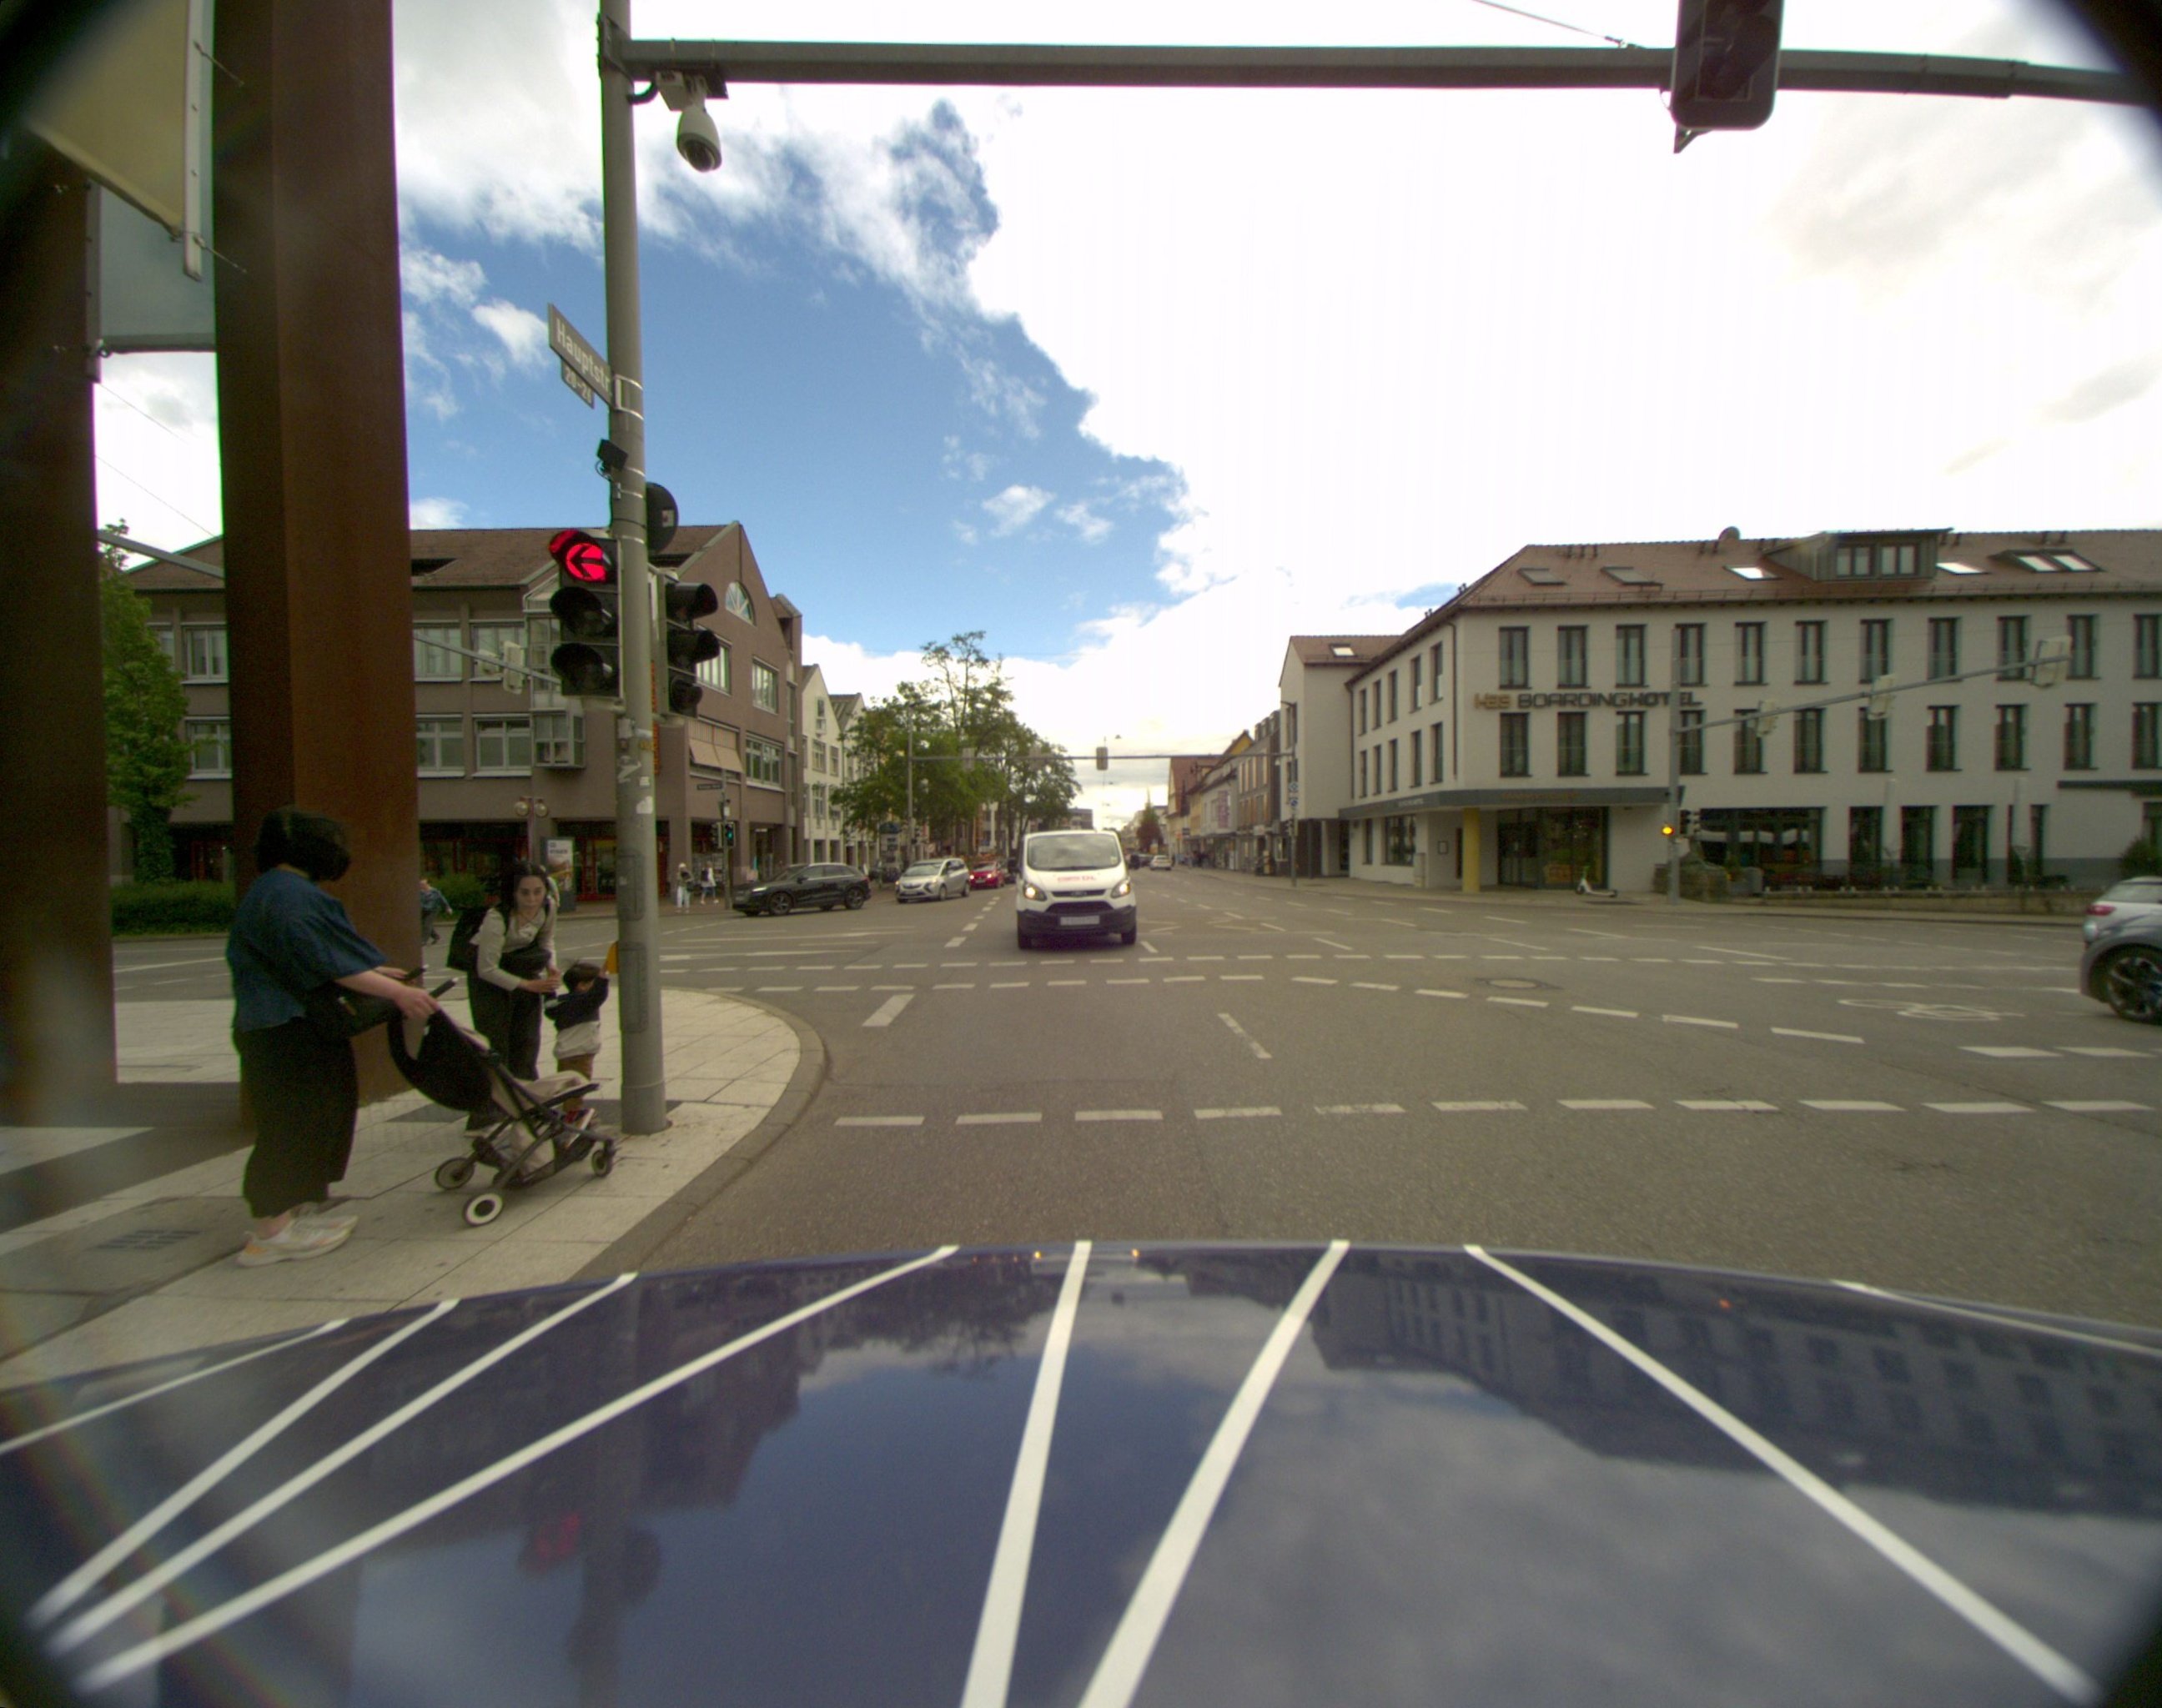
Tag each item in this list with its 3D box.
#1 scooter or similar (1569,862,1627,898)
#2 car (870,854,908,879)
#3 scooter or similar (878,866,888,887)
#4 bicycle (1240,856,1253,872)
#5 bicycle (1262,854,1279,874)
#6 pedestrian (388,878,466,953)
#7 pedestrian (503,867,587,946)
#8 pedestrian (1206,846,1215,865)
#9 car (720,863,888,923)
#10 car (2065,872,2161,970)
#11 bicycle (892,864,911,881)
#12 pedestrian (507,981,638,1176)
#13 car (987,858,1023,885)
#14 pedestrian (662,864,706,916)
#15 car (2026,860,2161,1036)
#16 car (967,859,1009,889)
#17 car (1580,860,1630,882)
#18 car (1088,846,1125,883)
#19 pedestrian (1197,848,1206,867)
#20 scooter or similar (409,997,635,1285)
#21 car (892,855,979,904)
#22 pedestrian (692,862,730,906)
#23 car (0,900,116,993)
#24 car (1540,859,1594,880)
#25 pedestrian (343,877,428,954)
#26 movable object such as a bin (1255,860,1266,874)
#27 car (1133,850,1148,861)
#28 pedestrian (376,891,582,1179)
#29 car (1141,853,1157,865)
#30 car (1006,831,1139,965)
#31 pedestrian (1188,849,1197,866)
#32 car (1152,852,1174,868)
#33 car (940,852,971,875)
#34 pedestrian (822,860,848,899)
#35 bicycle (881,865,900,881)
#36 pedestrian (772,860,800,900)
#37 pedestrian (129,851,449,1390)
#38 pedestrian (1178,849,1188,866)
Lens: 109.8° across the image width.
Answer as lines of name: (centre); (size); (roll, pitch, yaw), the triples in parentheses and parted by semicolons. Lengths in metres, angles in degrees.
scooter or similar: (18.063, 0.901, 26.586); (0.427, 1.152, 1.569); (-2, 3, -40)
car: (-14.153, 0.887, 56.245); (1.738, 1.793, 4.260); (0, 0, 0)
scooter or similar: (-10.960, 1.247, 42.003); (0.471, 1.081, 1.885); (-1, 1, -15)
bicycle: (11.783, 0.695, 54.065); (0.573, 1.094, 1.902); (-1, 0, 2)
bicycle: (11.803, 0.599, 47.362); (0.583, 1.225, 2.119); (-1, 0, 1)
pedestrian: (-14.374, 1.331, 16.730); (0.832, 1.549, 0.969); (-1, 1, 1)
pedestrian: (-12.281, 1.186, 17.451); (1.058, 1.705, 1.110); (-1, 1, 1)
pedestrian: (12.326, 0.170, 72.232); (0.708, 1.771, 0.870); (-1, 1, 3)
car: (-8.968, 1.209, 25.020); (1.852, 1.600, 4.870); (-2, 0, 38)
car: (17.473, 1.023, 11.896); (4.205, 1.409, 1.637); (1, -1, -25)
bicycle: (-11.748, 1.196, 49.777); (1.565, 1.042, 0.407); (0, 1, 44)
pedestrian: (-2.723, 1.180, 4.095); (0.362, 0.918, 0.454); (-1, 0, 4)
car: (-4.728, 1.042, 47.963); (1.801, 1.521, 4.000); (-3, 0, 0)
pedestrian: (-13.353, 1.195, 25.586); (0.810, 1.618, 1.092); (-1, 4, -1)
car: (10.012, 0.811, 5.295); (1.762, 1.508, 4.390); (0, 0, 8)
car: (-4.991, 1.057, 41.065); (1.630, 1.440, 3.642); (-3, 0, 2)
car: (31.009, 0.977, 45.074); (1.396, 1.173, 3.174); (1, 0, 14)
car: (1.333, 0.534, 41.041); (1.712, 1.810, 4.571); (-3, 0, -1)
pedestrian: (11.478, 0.335, 72.318); (0.708, 1.828, 1.028); (-1, 1, 3)
scooter or similar: (-2.476, 1.198, 3.381); (0.633, 0.956, 0.622); (-1, 1, 36)
car: (-5.716, 0.948, 30.472); (1.742, 1.691, 4.384); (-3, 0, 12)
pedestrian: (-13.833, 1.103, 28.438); (0.823, 1.586, 1.039); (-1, 1, 4)
car: (-19.269, 1.578, 12.582); (4.183, 1.396, 1.800); (-2, 0, -1)
car: (28.848, 0.888, 45.192); (1.397, 1.173, 3.353); (-1, 0, 6)
pedestrian: (-15.266, 1.330, 16.717); (0.832, 1.575, 1.059); (-1, 1, 1)
movable object such as a bin: (11.790, 0.827, 49.975); (0.552, 0.894, 0.507); (-2, 1, 0)
car: (8.303, 0.224, 106.825); (1.873, 1.477, 4.000); (-1, 0, 2)
pedestrian: (-3.217, 0.927, 4.107); (0.602, 1.412, 0.582); (-1, 1, 4)
car: (8.164, 0.603, 91.718); (1.748, 1.450, 3.818); (0, 0, 2)
car: (-0.031, 0.665, 14.552); (1.939, 1.968, 5.780); (-3, 0, 2)
pedestrian: (11.064, 0.338, 75.272); (0.812, 1.574, 0.920); (-1, 1, 3)
car: (8.020, 0.576, 74.549); (1.748, 1.450, 4.235); (0, 0, 2)
car: (-11.144, 0.800, 67.801); (1.999, 1.865, 4.752); (0, 1, -1)
pedestrian: (-10.337, 1.053, 31.957); (0.743, 1.617, 0.953); (-1, 1, -2)
bicycle: (-12.408, 1.231, 49.581); (1.565, 1.042, 0.407); (0, 1, 44)
pedestrian: (-12.134, 1.058, 31.261); (0.743, 1.617, 0.953); (-1, 1, -2)
pedestrian: (-2.952, 0.818, 2.838); (0.870, 1.637, 0.681); (-1, 1, 36)
pedestrian: (10.106, 0.328, 75.348); (0.812, 1.651, 0.920); (-1, 1, 3)
